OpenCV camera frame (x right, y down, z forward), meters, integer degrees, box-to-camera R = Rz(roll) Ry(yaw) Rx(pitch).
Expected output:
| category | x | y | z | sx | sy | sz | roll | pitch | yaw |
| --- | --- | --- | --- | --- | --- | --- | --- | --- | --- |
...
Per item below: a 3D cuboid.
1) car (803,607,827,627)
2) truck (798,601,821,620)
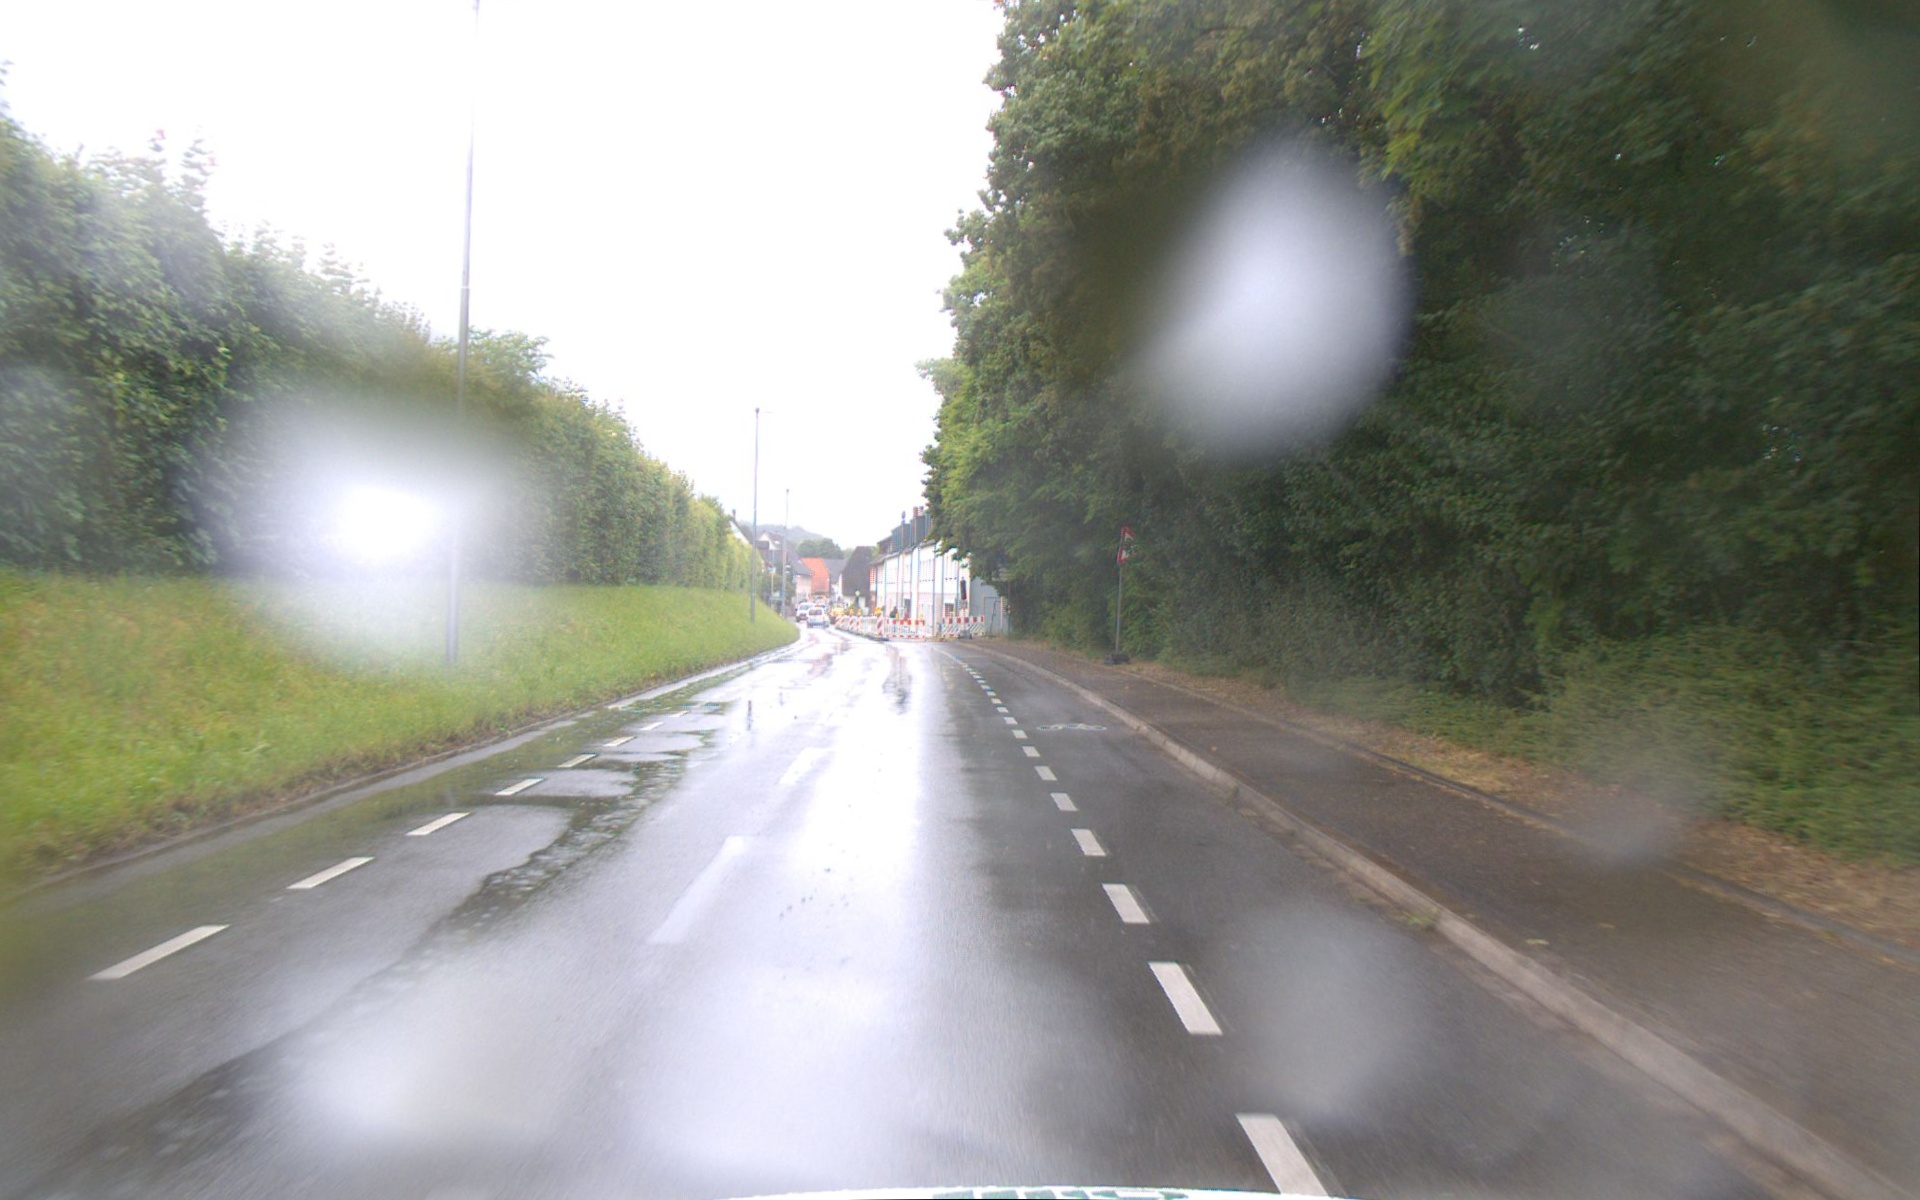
| category | x | y | z | sx | sy | sz | roll | pitch | yaw |
| --- | --- | --- | --- | --- | --- | --- | --- | --- | --- |
| car | -13.664 | 1.590 | 155.765 | 1.957 | 1.639 | 3.992 | 3 | 1 | -9 |
| truck | -17.330 | 1.157 | 190.854 | 1.952 | 2.048 | 4.906 | 2 | 1 | 3 |
